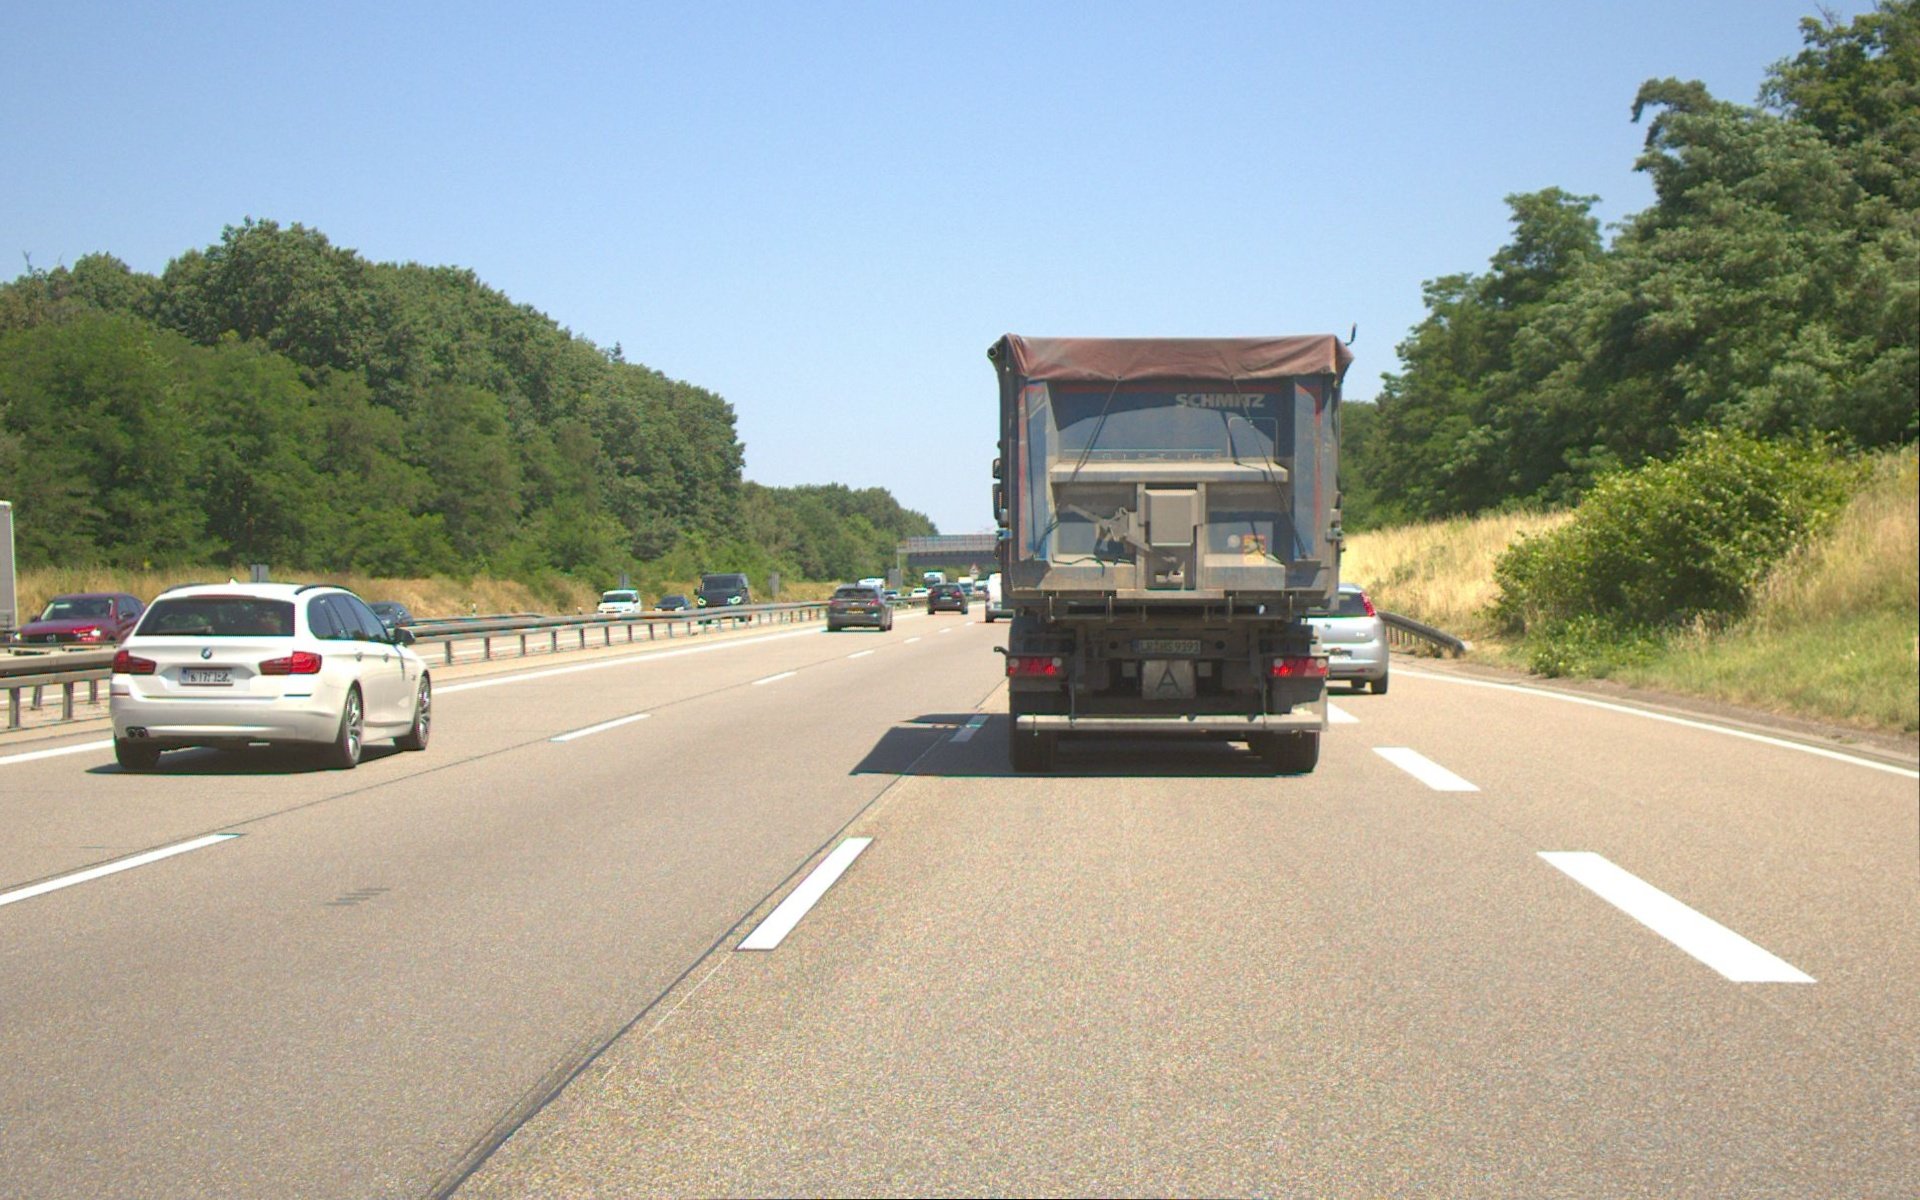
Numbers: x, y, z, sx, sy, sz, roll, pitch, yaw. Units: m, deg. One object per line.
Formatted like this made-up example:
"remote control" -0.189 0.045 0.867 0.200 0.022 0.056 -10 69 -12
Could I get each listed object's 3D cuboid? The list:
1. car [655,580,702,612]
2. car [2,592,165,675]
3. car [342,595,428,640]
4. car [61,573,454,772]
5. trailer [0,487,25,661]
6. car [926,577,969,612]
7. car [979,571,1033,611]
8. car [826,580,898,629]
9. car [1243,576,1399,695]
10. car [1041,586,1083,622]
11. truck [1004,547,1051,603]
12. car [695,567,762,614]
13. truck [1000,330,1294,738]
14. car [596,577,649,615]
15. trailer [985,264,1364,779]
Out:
"car" -15.939 -0.215 194.968 1.994 1.698 4.979 -3 0 2
"car" -17.537 0.644 69.001 1.846 1.605 4.921 0 0 2
"car" -19.872 0.596 118.981 1.927 1.458 4.942 -1 0 3
"car" -5.707 0.543 28.681 1.964 1.498 5.404 0 0 2
"trailer" -23.626 -0.559 72.245 3.169 3.917 13.961 0 0 4
"car" -0.584 -0.285 161.581 1.876 1.575 3.928 0 1 2
"car" 1.733 -0.352 128.179 1.894 1.464 4.261 1 1 2
"car" -2.968 0.124 105.179 1.832 1.427 4.999 0 1 3
"car" 4.800 0.442 46.157 1.719 1.486 3.737 0 1 0
"car" 4.382 0.180 147.804 1.735 1.486 3.736 0 0 3
"truck" 3.525 -1.289 180.654 2.428 2.874 6.205 0 0 1
"car" -9.887 -0.434 146.949 2.280 1.934 4.942 -1 0 3
"truck" 1.802 -0.647 34.671 2.684 3.746 5.944 0 1 2
"car" -17.179 -0.208 175.143 1.994 1.821 4.642 -3 0 2
"trailer" 1.684 -0.633 29.648 2.737 3.746 9.109 0 1 2
